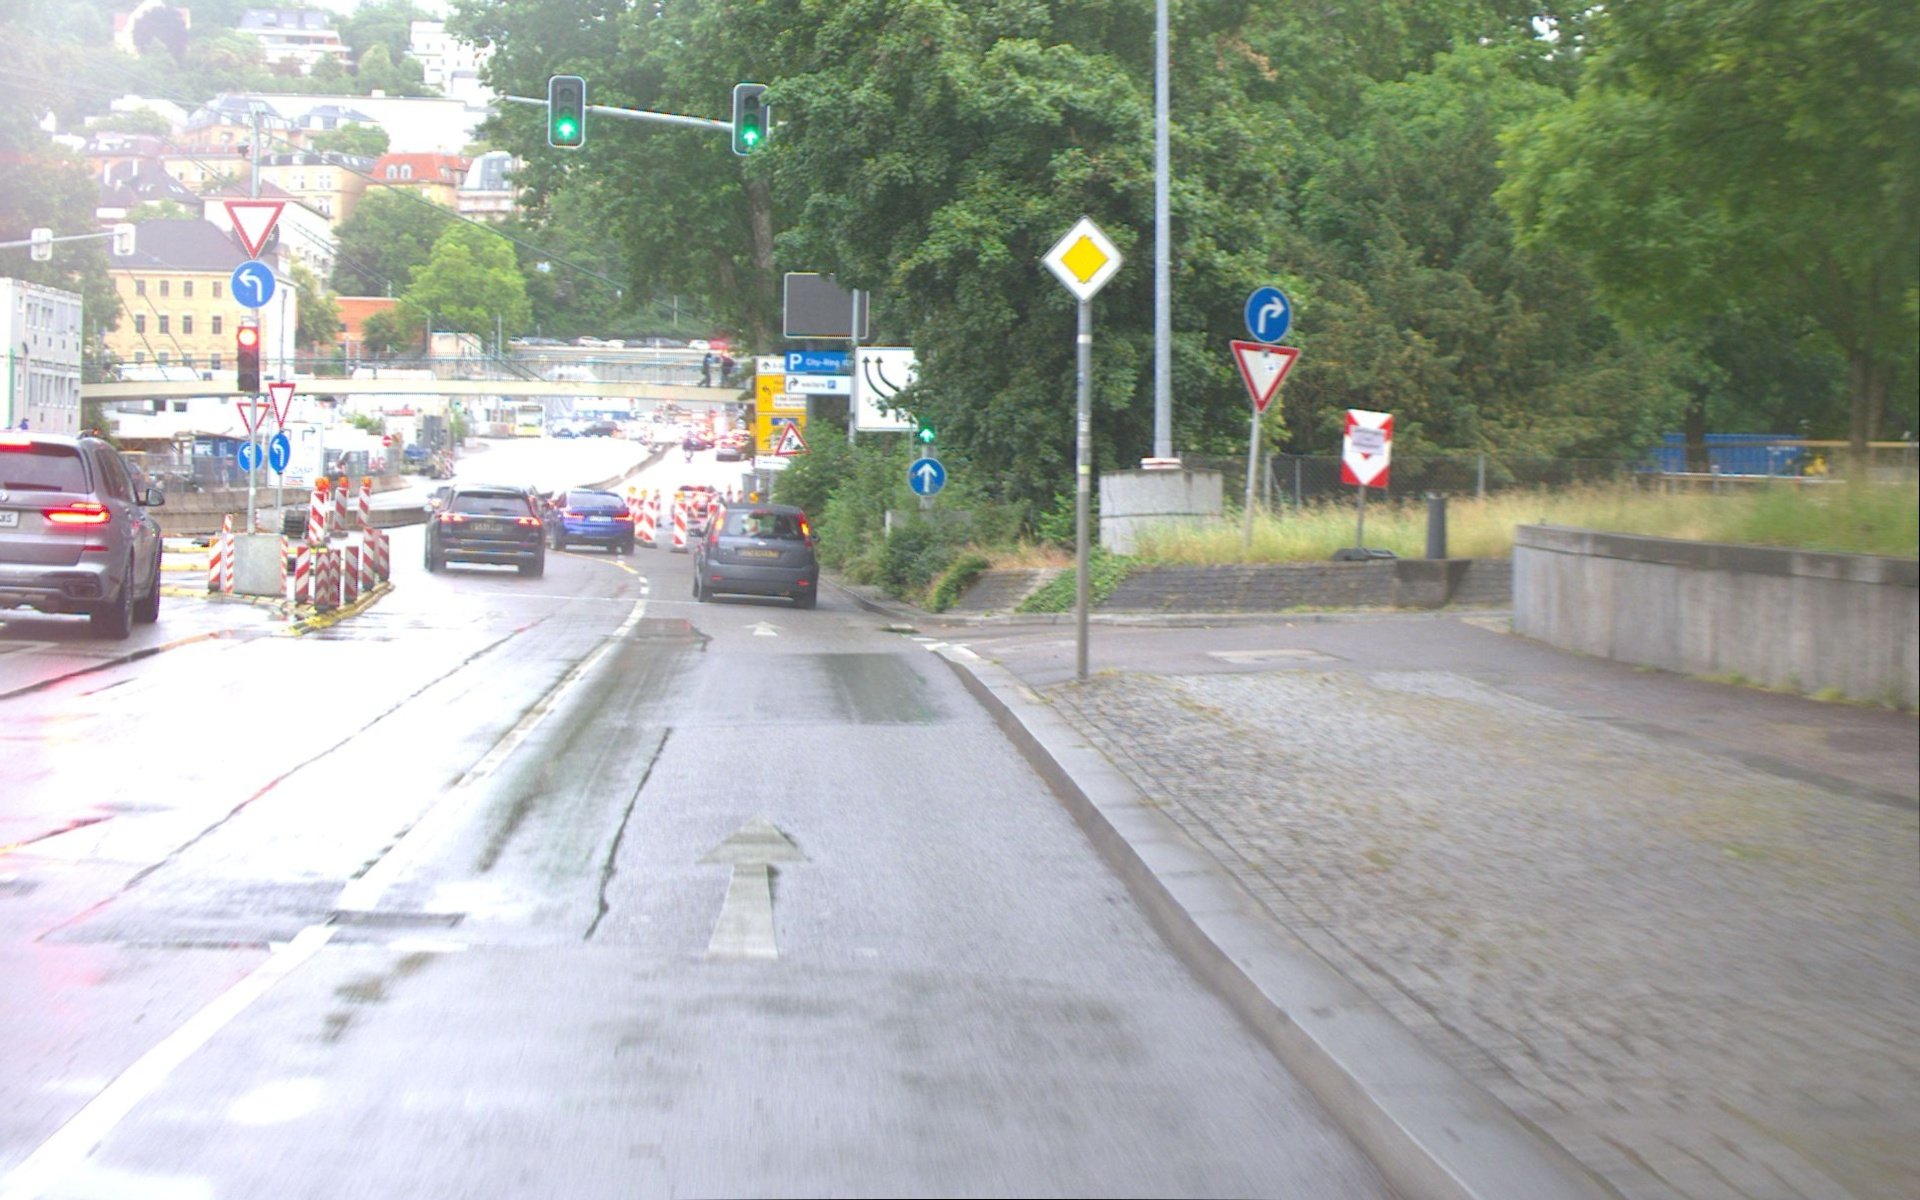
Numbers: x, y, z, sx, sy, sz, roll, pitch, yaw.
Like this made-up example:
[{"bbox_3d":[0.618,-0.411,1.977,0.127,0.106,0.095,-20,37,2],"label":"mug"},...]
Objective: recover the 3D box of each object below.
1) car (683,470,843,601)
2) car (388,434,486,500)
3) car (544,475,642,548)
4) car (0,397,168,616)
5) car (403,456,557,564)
[{"bbox_3d":[-2.755,-0.944,48.885,1.852,1.711,4.000,3,2,2],"label":"car"},{"bbox_3d":[-14.423,-3.661,94.973,1.904,1.711,4.000,3,2,2],"label":"car"},{"bbox_3d":[-8.463,-2.049,79.463,1.674,1.576,3.239,3,2,3],"label":"car"},{"bbox_3d":[-8.467,-0.894,31.148,1.993,1.820,4.001,2,2,-6],"label":"car"},{"bbox_3d":[-7.960,-1.531,57.338,1.830,1.680,4.134,2,2,2],"label":"car"}]
